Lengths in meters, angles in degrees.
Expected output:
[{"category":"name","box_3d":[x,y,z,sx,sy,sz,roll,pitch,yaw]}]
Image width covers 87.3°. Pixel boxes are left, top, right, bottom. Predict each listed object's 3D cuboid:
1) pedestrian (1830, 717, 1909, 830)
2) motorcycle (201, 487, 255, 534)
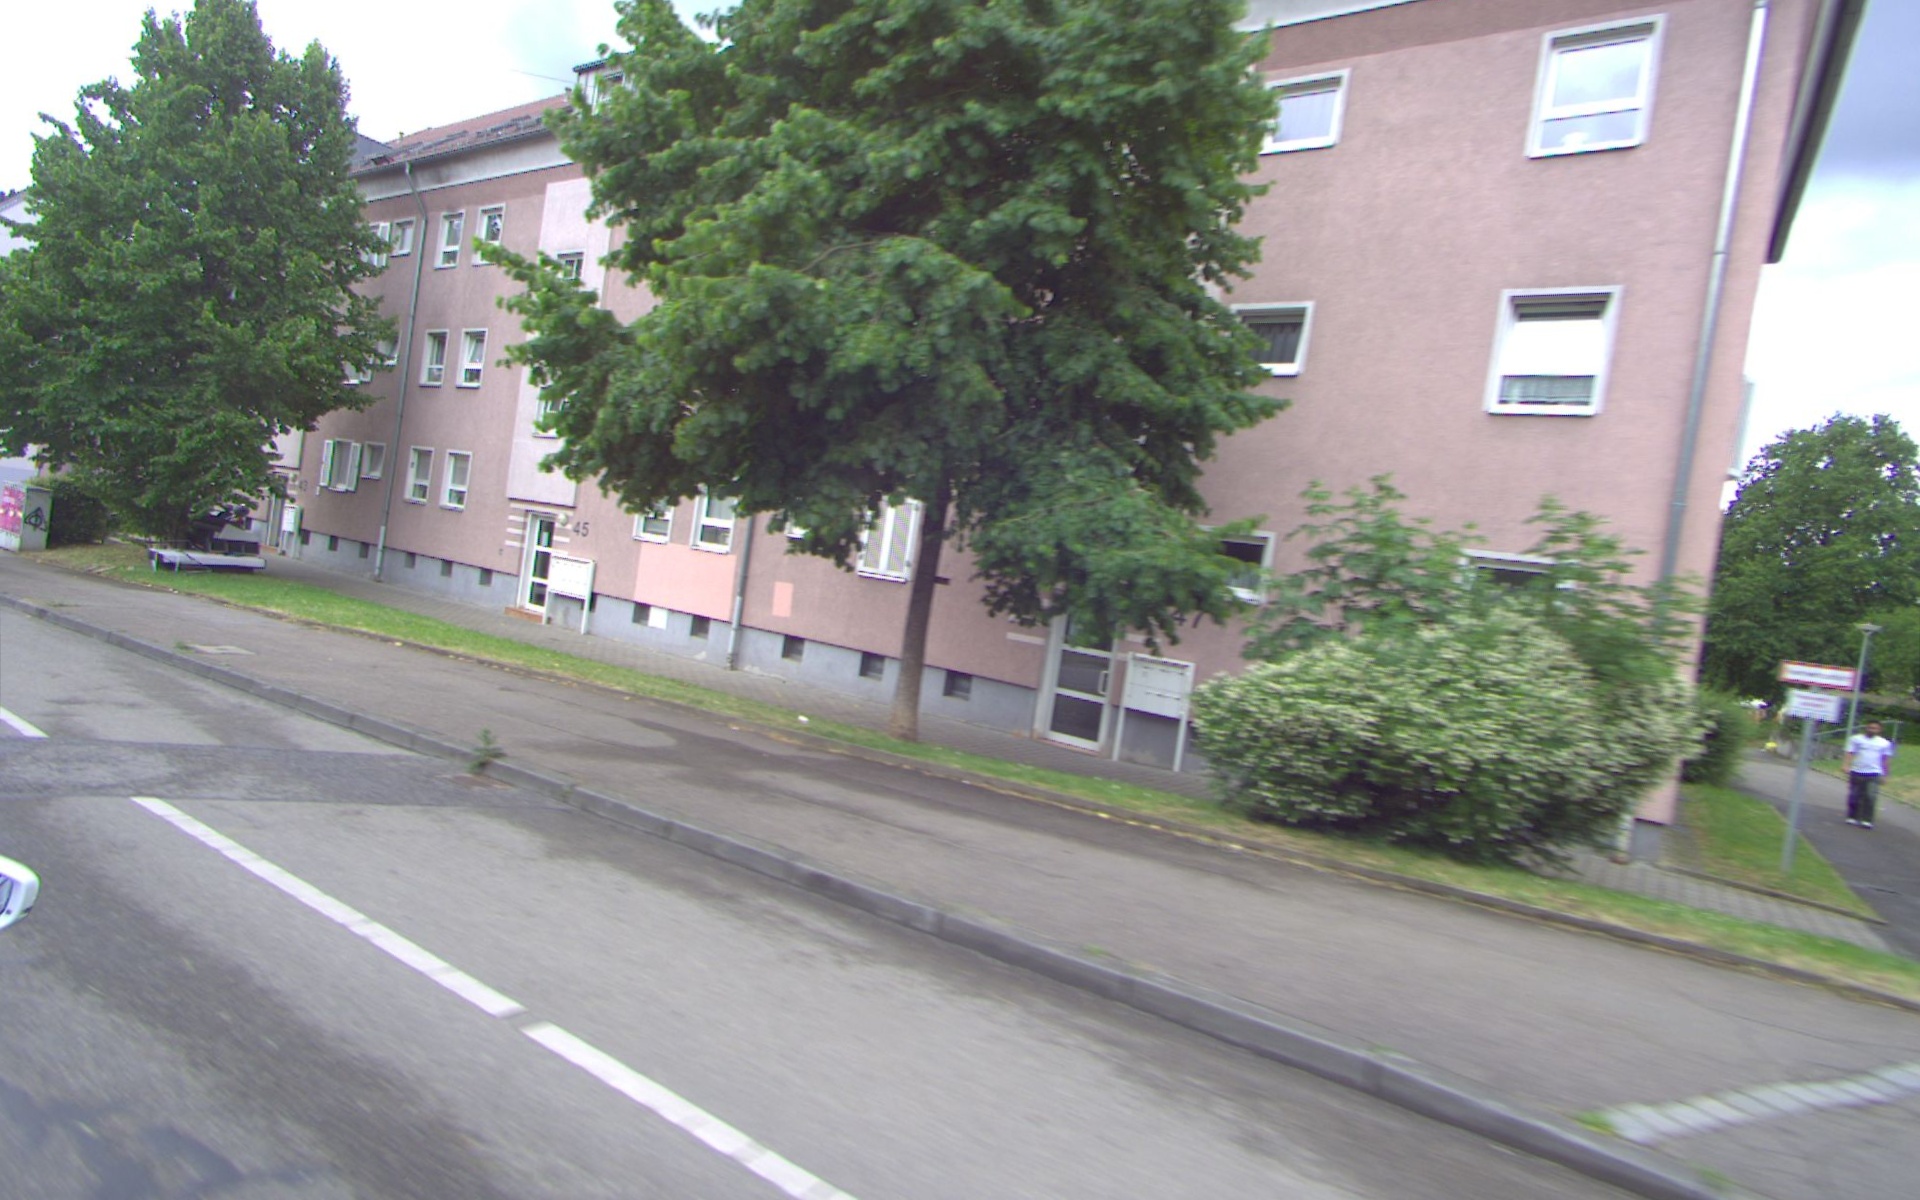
[{"category":"pedestrian","box_3d":[14.615,2.770,16.188,0.676,1.672,0.569,8,0,32]},{"category":"motorcycle","box_3d":[-22.102,-2.711,30.361,1.936,1.242,0.591,7,0,34]}]
